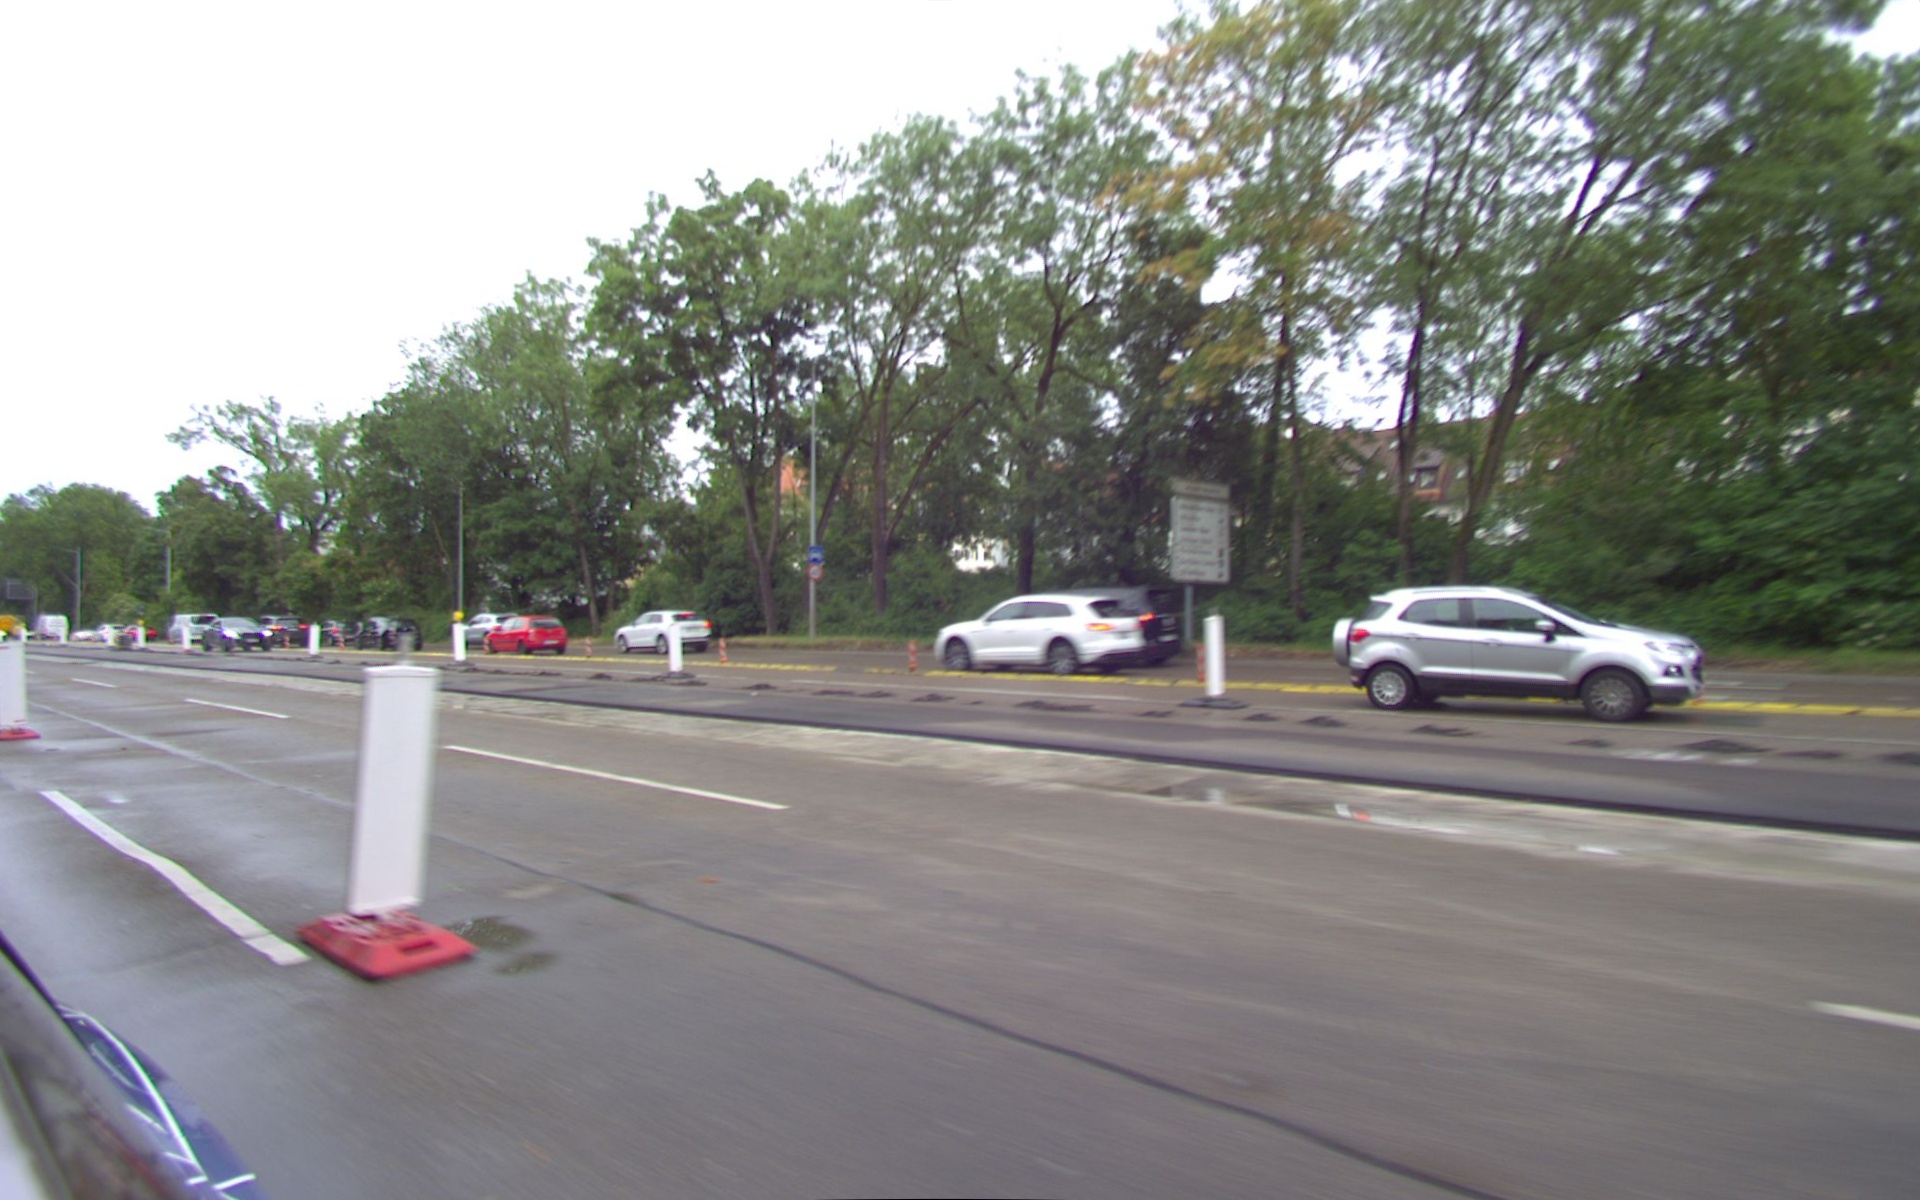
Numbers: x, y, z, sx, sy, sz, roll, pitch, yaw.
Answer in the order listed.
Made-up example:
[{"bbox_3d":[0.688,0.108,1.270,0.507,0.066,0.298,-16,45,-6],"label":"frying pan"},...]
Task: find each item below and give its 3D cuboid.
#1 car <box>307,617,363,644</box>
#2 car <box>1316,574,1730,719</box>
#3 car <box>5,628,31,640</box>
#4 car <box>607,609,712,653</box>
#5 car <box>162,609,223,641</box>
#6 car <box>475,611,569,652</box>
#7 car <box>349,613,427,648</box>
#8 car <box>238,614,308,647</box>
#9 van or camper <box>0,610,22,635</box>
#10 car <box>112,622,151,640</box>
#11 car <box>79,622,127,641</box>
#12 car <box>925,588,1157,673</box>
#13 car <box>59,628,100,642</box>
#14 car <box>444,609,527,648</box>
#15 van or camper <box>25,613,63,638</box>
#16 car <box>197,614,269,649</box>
[{"bbox_3d":[-35.738,1.743,57.817,3.998,1.431,1.628,-1,0,41],"label":"car"},{"bbox_3d":[7.160,0.534,13.173,4.364,1.576,1.868,-2,0,43],"label":"car"},{"bbox_3d":[-107.943,3.904,115.950,4.078,1.375,1.698,-1,-2,40],"label":"car"},{"bbox_3d":[-10.955,1.122,36.767,4.147,1.508,1.661,-1,-3,41],"label":"car"},{"bbox_3d":[-50.010,1.614,65.920,4.896,1.987,1.974,-1,-1,38],"label":"car"},{"bbox_3d":[-16.415,1.163,37.843,4.010,1.411,1.662,-1,0,41],"label":"car"},{"bbox_3d":[-26.138,1.388,46.182,4.194,1.499,1.758,-1,-1,41],"label":"car"},{"bbox_3d":[-38.018,1.668,55.979,5.010,1.738,2.000,-1,0,41],"label":"car"},{"bbox_3d":[-123.517,2.924,130.781,7.442,3.086,2.275,-1,-1,38],"label":"van or camper"},{"bbox_3d":[-70.696,2.616,86.304,4.482,1.487,1.712,-1,-1,39],"label":"car"},{"bbox_3d":[-67.891,2.489,80.165,4.386,1.426,1.975,-1,-2,37],"label":"car"},{"bbox_3d":[1.665,0.633,22.115,4.890,1.674,1.870,-1,0,41],"label":"car"},{"bbox_3d":[-84.783,3.363,97.459,3.982,1.192,1.678,-1,0,29],"label":"car"},{"bbox_3d":[-21.576,1.288,45.964,4.415,1.639,1.685,-1,0,40],"label":"car"},{"bbox_3d":[-98.291,2.739,108.538,7.723,2.574,1.974,-1,0,40],"label":"van or camper"},{"bbox_3d":[-36.203,1.528,50.329,4.811,1.641,1.972,-1,0,43],"label":"car"}]
